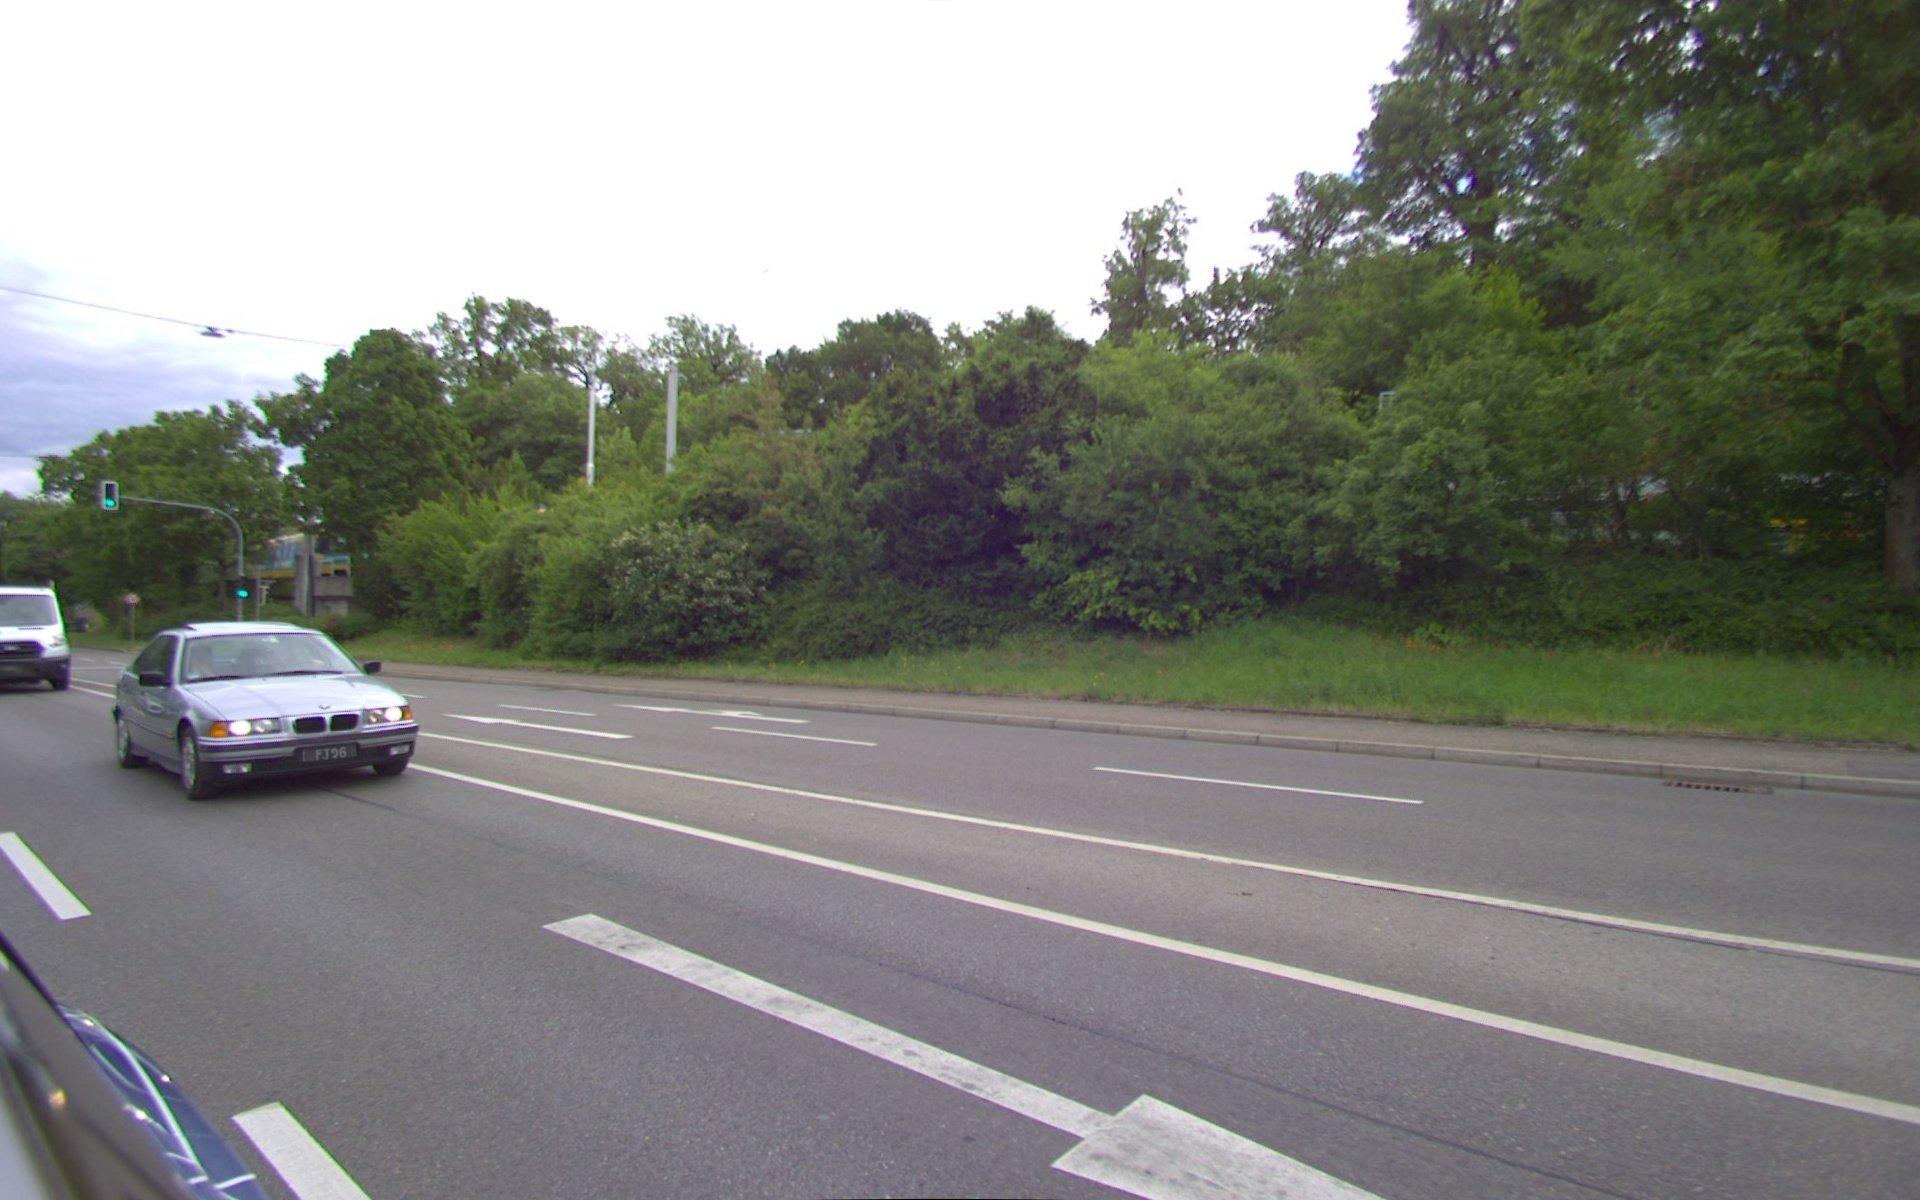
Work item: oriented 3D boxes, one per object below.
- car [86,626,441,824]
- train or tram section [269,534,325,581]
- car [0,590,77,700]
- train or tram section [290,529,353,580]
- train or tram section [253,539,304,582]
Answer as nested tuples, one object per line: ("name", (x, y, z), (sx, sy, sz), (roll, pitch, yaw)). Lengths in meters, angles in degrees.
("car", (-6.653, 0.946, 9.433), (4.614, 1.404, 1.734), (-1, -2, 43))
("train or tram section", (-47.043, -2.927, 71.722), (2.032, 3.066, 8.162), (-1, 1, -42))
("car", (-21.130, 0.919, 21.729), (6.662, 2.142, 2.225), (-1, -1, 39))
("train or tram section", (-41.513, -2.875, 65.690), (2.032, 3.066, 8.162), (-1, 1, -42))
("train or tram section", (-52.598, -2.953, 78.010), (2.032, 3.066, 8.161), (-1, 1, -43))
